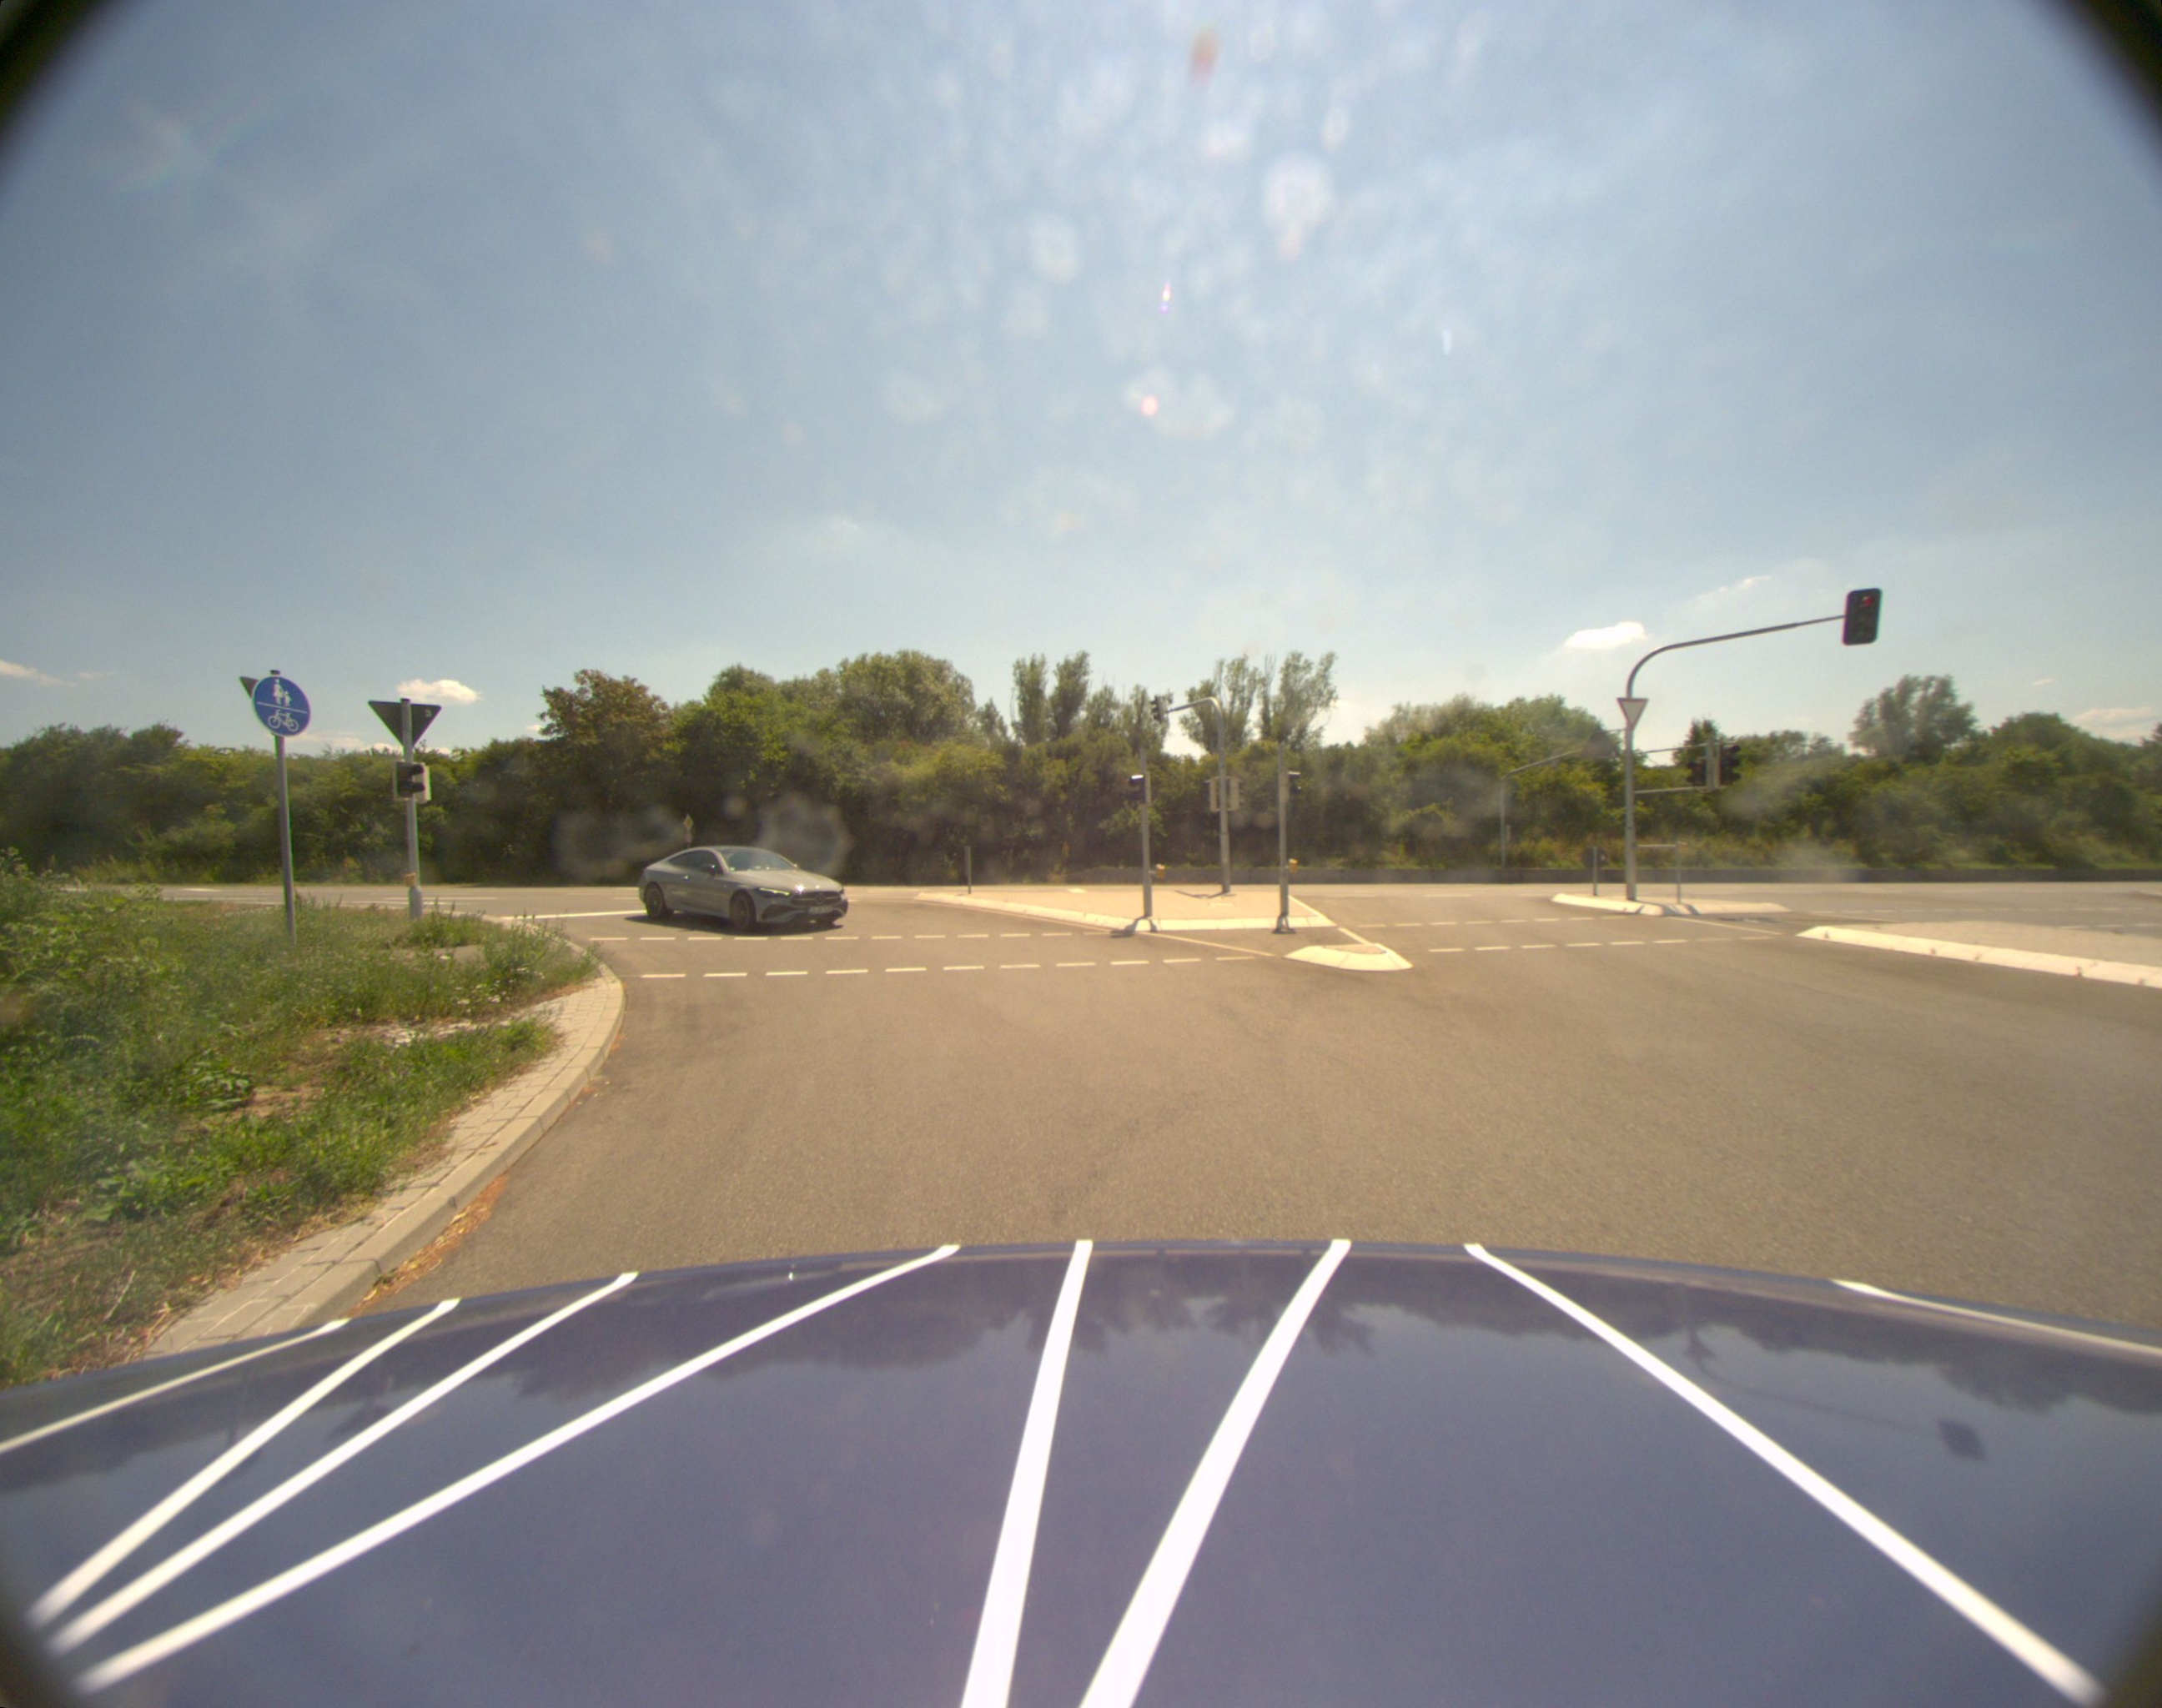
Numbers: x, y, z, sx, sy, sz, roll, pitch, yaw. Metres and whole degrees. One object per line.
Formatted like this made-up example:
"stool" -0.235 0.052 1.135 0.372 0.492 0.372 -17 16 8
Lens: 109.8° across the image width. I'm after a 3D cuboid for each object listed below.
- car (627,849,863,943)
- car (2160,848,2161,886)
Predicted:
"car" -6.380 0.661 14.276 4.468 1.434 1.927 2 1 33
"car" 43.294 0.466 28.167 4.296 1.433 1.739 -1 0 -2
